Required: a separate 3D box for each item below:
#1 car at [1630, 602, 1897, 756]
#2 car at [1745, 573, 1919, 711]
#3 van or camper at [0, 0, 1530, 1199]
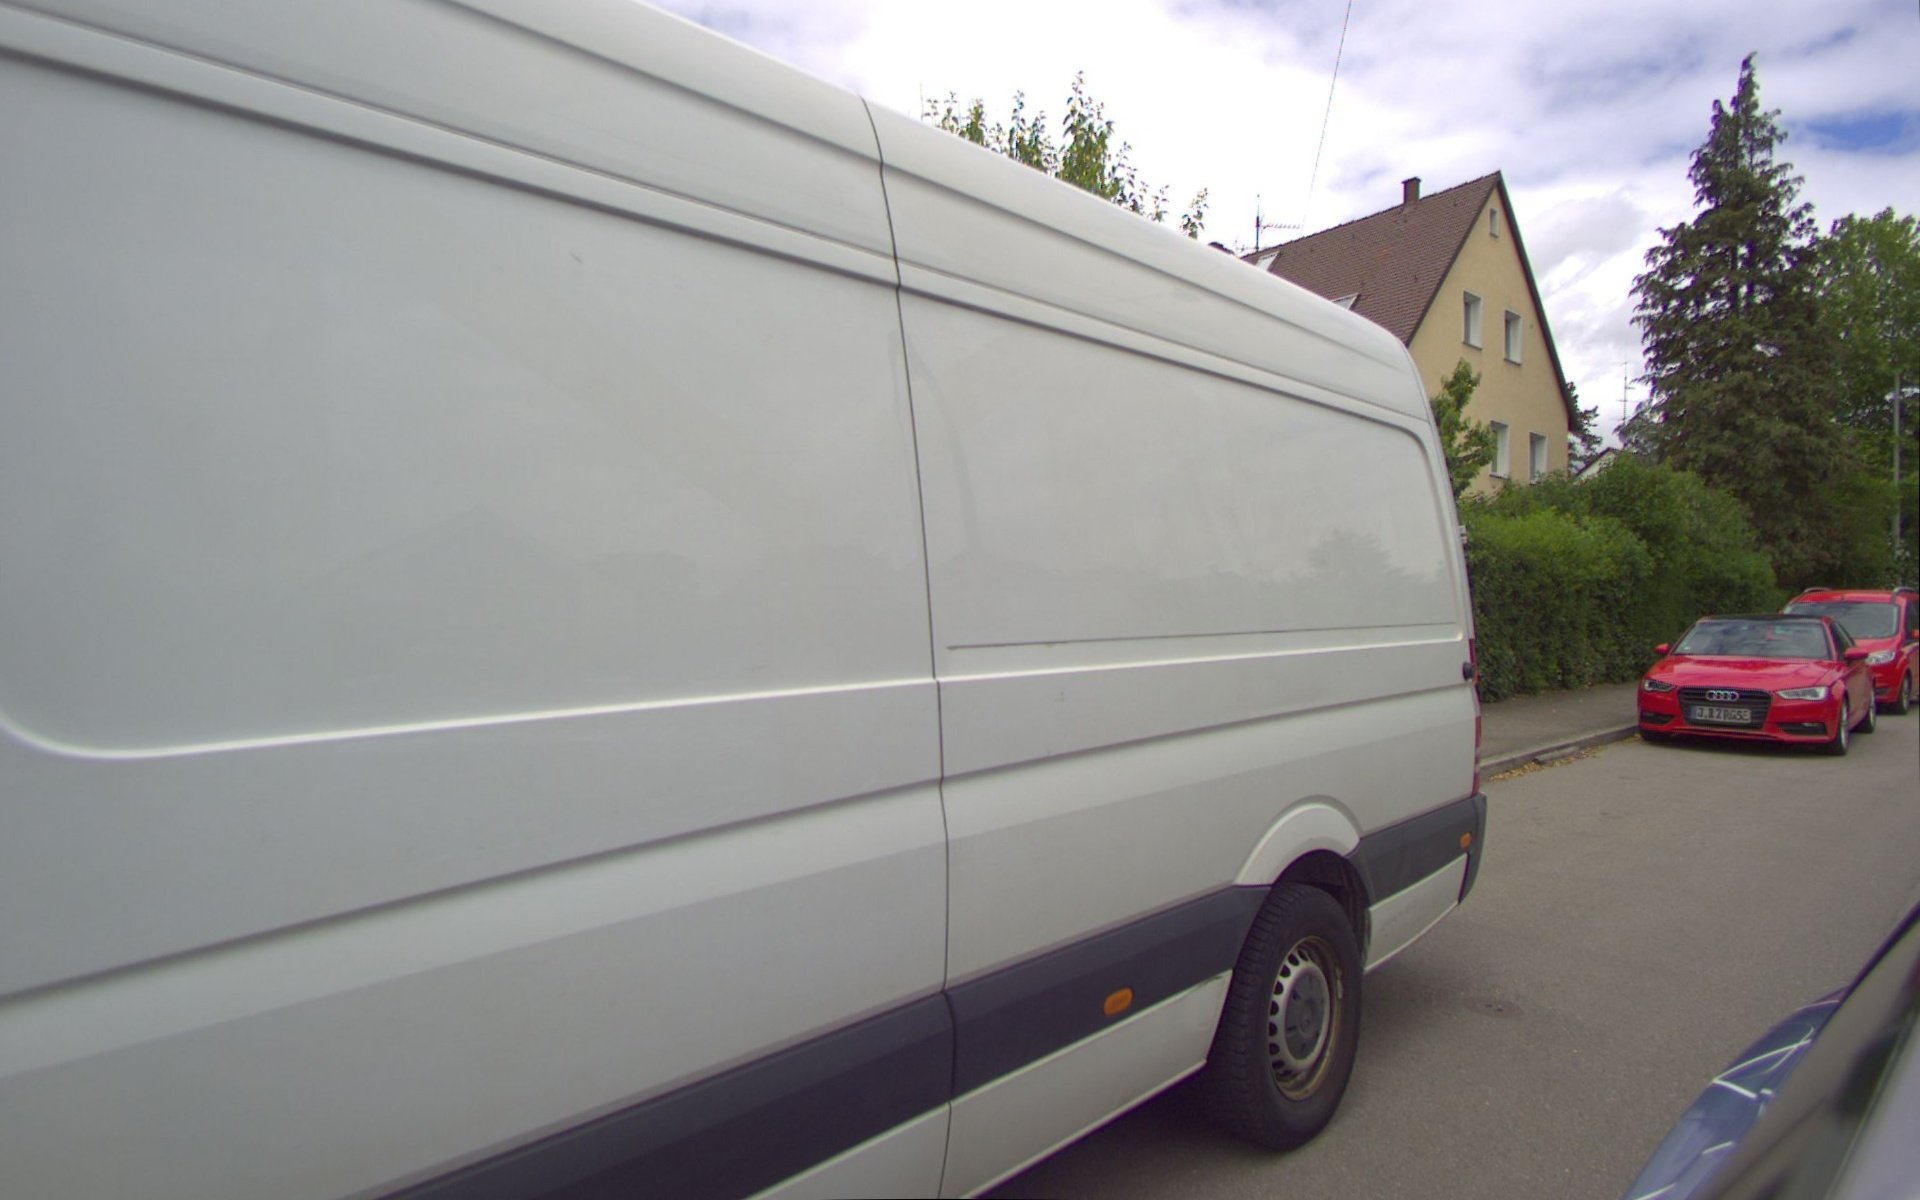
[{"bbox_3d":[9.331,0.757,11.615,4.319,1.448,1.702,0,-1,-42],"label":"car"},{"bbox_3d":[13.474,0.561,15.151,4.085,1.788,1.771,0,-1,-38],"label":"car"},{"bbox_3d":[-1.055,0.173,2.269,6.920,2.654,2.043,0,-1,-43],"label":"van or camper"}]
